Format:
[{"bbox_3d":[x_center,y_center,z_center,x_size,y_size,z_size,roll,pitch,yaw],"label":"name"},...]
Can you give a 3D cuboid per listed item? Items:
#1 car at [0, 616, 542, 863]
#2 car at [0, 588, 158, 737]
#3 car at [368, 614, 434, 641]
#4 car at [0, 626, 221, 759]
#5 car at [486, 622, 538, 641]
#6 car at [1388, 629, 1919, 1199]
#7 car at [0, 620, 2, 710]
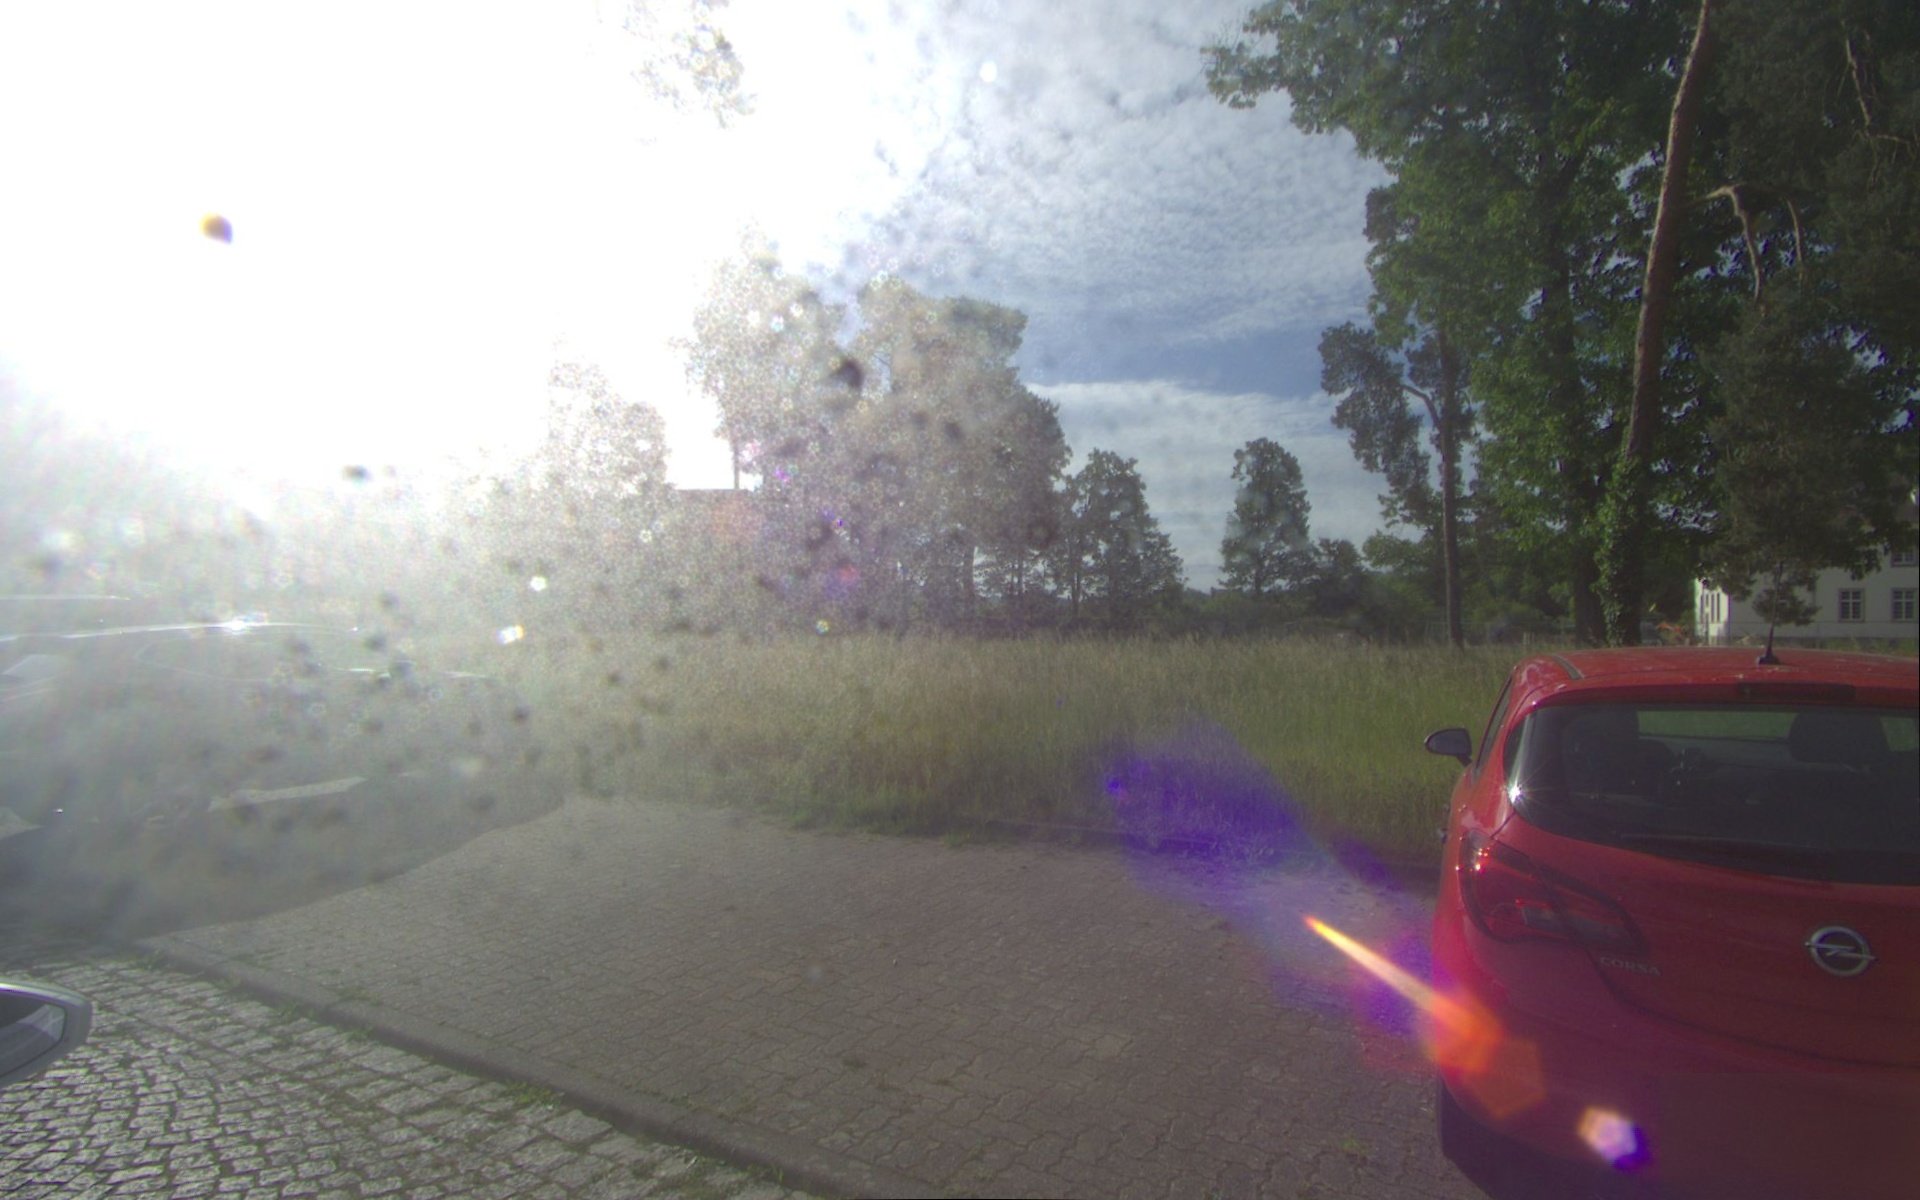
[{"bbox_3d":[-6.060,0.961,8.813,1.849,1.609,4.187,-1,-1,28],"label":"car"},{"bbox_3d":[-13.712,0.838,13.024,1.962,1.954,4.727,-1,0,29],"label":"car"},{"bbox_3d":[-53.743,2.690,96.427,2.231,2.568,5.152,-1,-2,31],"label":"car"},{"bbox_3d":[-11.542,1.066,11.836,1.779,1.488,4.190,-1,-1,26],"label":"car"},{"bbox_3d":[-39.754,2.815,88.938,1.827,1.701,3.931,-1,-2,27],"label":"car"},{"bbox_3d":[2.728,0.894,3.820,1.661,1.492,3.873,-1,-1,28],"label":"car"},{"bbox_3d":[-18.132,1.102,15.920,1.781,1.550,3.870,-1,-1,30],"label":"car"}]
